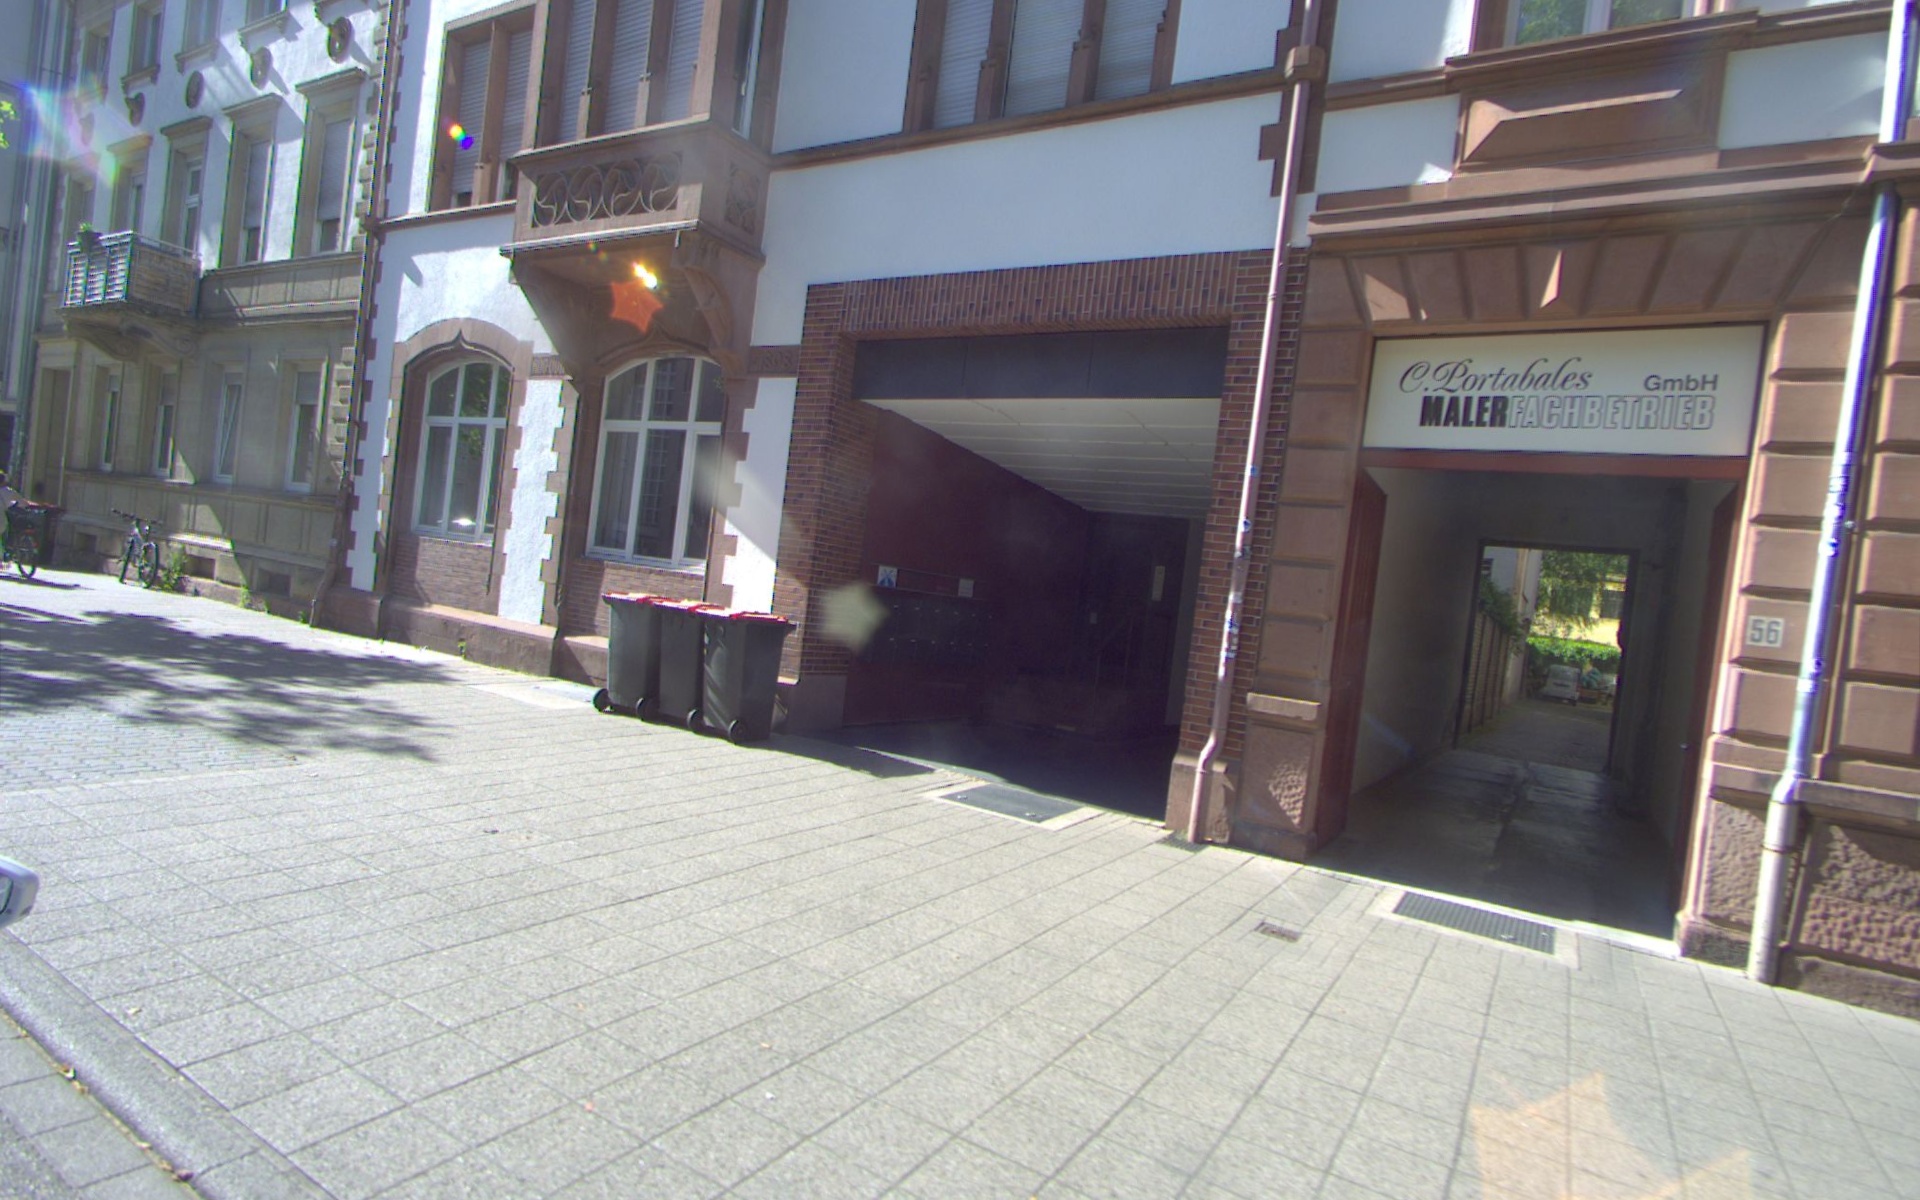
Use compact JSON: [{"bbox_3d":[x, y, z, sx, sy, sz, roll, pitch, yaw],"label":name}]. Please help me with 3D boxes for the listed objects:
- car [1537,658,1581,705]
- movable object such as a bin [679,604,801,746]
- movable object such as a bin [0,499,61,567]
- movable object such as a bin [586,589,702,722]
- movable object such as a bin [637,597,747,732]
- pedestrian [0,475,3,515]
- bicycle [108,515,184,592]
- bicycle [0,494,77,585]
[{"bbox_3d":[31.285,4.246,52.591,1.645,2.170,3.992,8,0,31],"label":"car"},{"bbox_3d":[-1.855,0.624,8.502,0.628,1.082,0.638,8,1,31],"label":"movable object such as a bin"},{"bbox_3d":[-15.924,-1.144,17.222,0.537,1.055,0.599,8,1,31],"label":"movable object such as a bin"},{"bbox_3d":[-2.851,0.499,9.094,0.621,1.082,0.638,8,1,31],"label":"movable object such as a bin"},{"bbox_3d":[-2.342,0.566,8.813,0.513,1.082,0.638,8,1,31],"label":"movable object such as a bin"},{"bbox_3d":[-14.365,-1.111,14.709,0.383,1.488,0.368,8,2,30],"label":"pedestrian"},{"bbox_3d":[-12.577,-0.725,15.533,1.404,1.045,0.432,7,4,31],"label":"bicycle"},{"bbox_3d":[-13.890,-0.931,14.907,2.088,1.163,0.537,7,1,31],"label":"bicycle"}]
